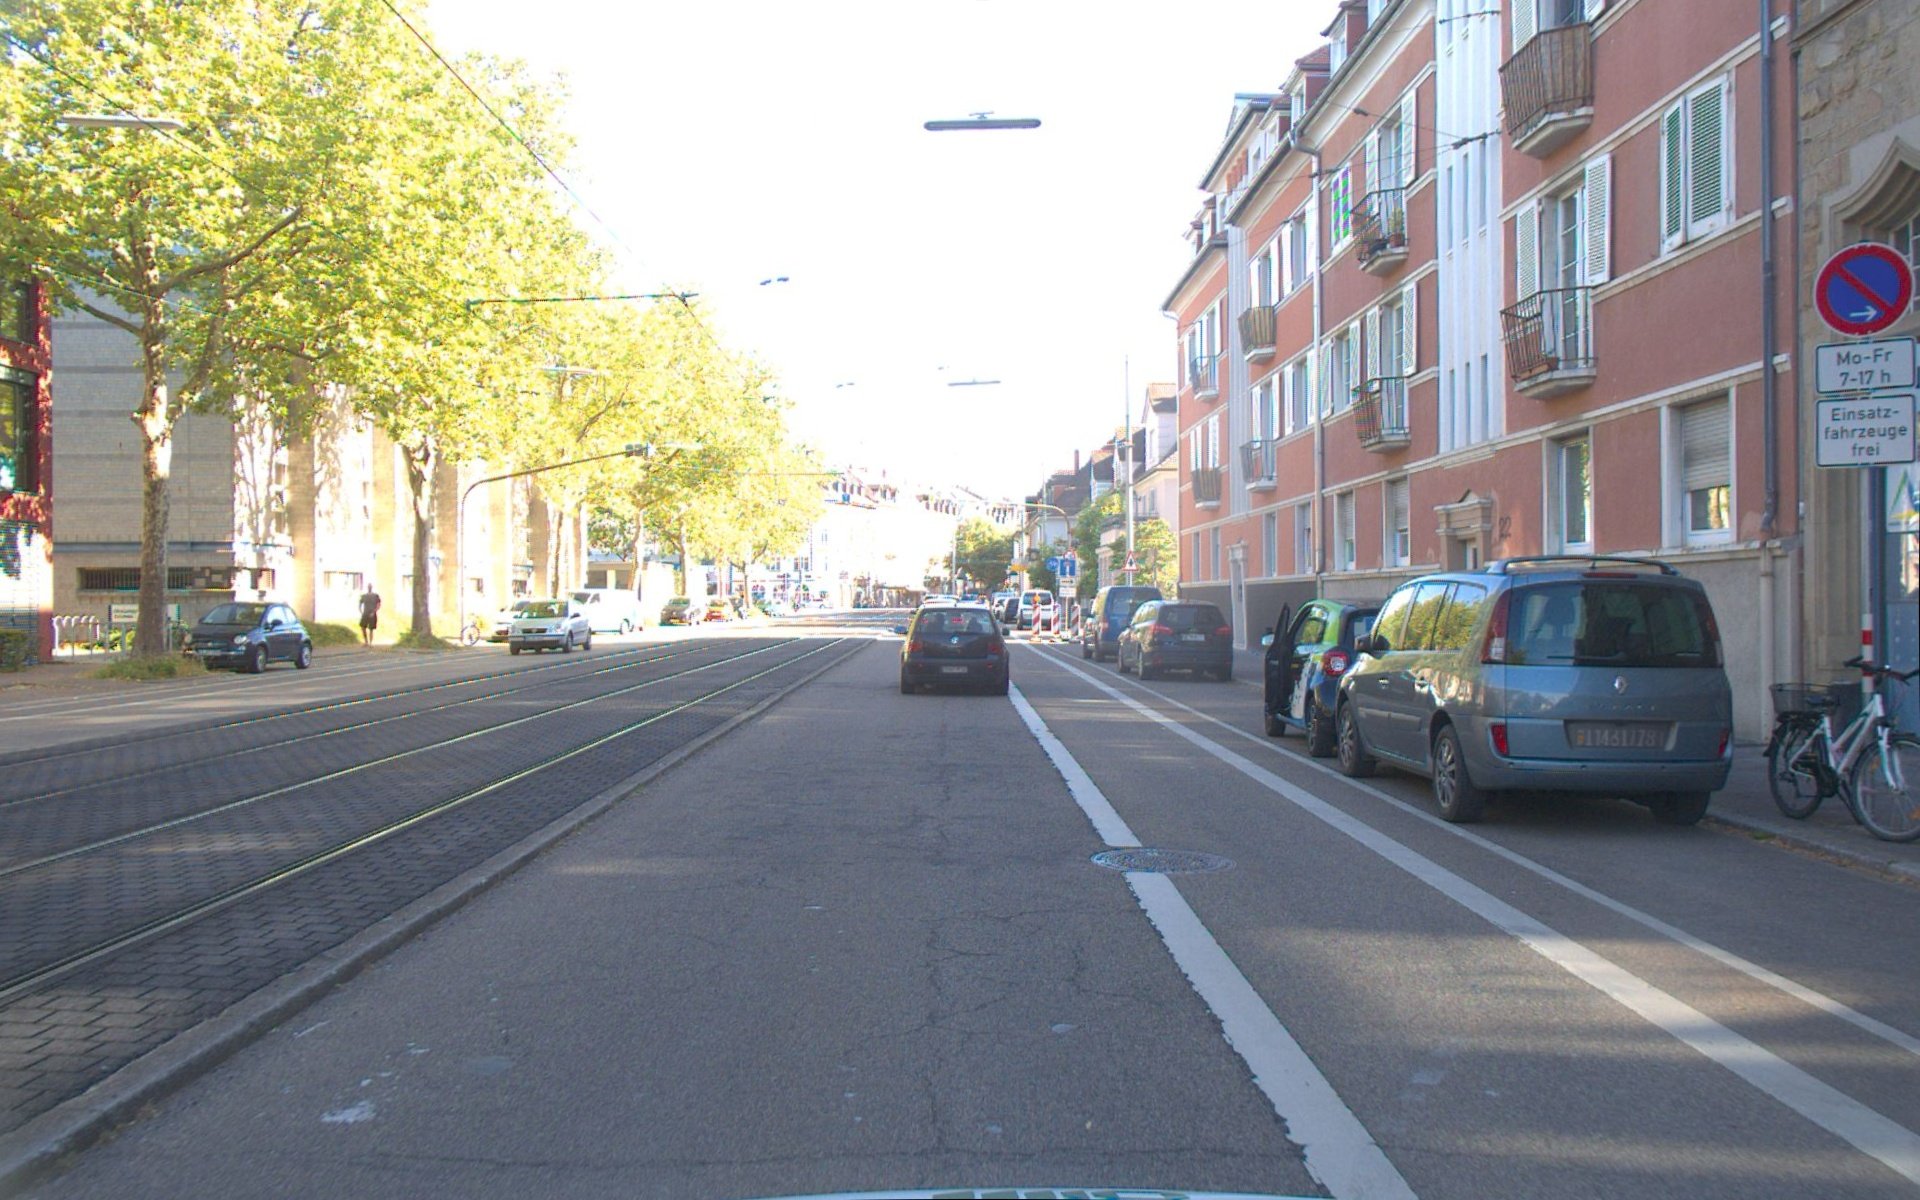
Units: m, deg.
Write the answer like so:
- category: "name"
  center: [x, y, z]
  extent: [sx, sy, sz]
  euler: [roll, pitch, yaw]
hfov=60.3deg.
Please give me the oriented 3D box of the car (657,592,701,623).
- category: "car"
  center: [-16.022, 0.412, 94.548]
  extent: [1.849, 1.695, 3.999]
  euler: [0, 0, -1]

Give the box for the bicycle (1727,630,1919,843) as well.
- category: "bicycle"
  center: [5.801, 0.813, 10.761]
  extent: [0.504, 1.159, 2.258]
  euler: [-2, 1, -1]

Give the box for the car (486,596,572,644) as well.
- category: "car"
  center: [-15.563, 0.680, 59.957]
  extent: [1.971, 1.600, 4.691]
  euler: [1, 1, -2]

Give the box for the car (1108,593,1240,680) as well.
- category: "car"
  center: [4.118, 0.665, 32.520]
  extent: [1.719, 1.538, 4.760]
  euler: [1, 0, -3]

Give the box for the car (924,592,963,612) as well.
- category: "car"
  center: [-1.826, 0.195, 180.778]
  extent: [3.917, 2.049, 1.994]
  euler: [1, 0, -12]

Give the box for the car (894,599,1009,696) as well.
- category: "car"
  center: [-0.195, 0.709, 26.701]
  extent: [1.713, 1.399, 3.999]
  euler: [-1, 0, -2]

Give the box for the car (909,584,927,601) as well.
- category: "car"
  center: [-3.985, -0.715, 157.933]
  extent: [1.603, 1.498, 3.729]
  euler: [-4, 0, -1]

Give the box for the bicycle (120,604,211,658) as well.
- category: "bicycle"
  center: [-20.178, 0.784, 42.047]
  extent: [1.967, 1.301, 0.664]
  euler: [1, 0, -1]

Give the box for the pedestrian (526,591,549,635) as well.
- category: "pedestrian"
  center: [-18.254, 0.558, 71.455]
  extent: [0.780, 1.852, 0.670]
  euler: [1, 0, -1]

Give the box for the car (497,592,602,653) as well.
- category: "car"
  center: [-11.354, 0.605, 46.048]
  extent: [1.716, 1.544, 4.072]
  euler: [-2, 0, 2]

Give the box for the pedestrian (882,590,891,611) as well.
- category: "pedestrian"
  center: [-9.748, 0.026, 220.172]
  extent: [1.073, 2.706, 0.959]
  euler: [1, 0, 1]

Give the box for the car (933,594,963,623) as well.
- category: "car"
  center: [-0.647, 0.446, 88.145]
  extent: [1.603, 1.498, 3.729]
  euler: [0, 0, -1]

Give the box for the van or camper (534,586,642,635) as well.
- category: "van or camper"
  center: [-15.749, 0.421, 70.306]
  extent: [2.017, 1.983, 5.191]
  euler: [2, 1, 19]

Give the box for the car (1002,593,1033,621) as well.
- category: "car"
  center: [3.309, 0.395, 96.071]
  extent: [1.627, 1.552, 4.035]
  euler: [0, 0, -1]

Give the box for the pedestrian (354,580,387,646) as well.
- category: "pedestrian"
  center: [-17.275, 0.385, 48.464]
  extent: [0.776, 1.902, 0.664]
  euler: [1, 0, -29]

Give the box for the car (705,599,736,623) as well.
- category: "car"
  center: [-16.068, 0.736, 111.102]
  extent: [1.538, 1.560, 3.571]
  euler: [0, -1, -1]

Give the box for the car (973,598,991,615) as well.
- category: "car"
  center: [2.136, 0.640, 160.313]
  extent: [1.634, 1.626, 3.649]
  euler: [0, 0, -1]

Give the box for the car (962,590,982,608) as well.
- category: "car"
  center: [0.952, -0.103, 136.492]
  extent: [1.603, 1.498, 3.729]
  euler: [0, 0, -1]

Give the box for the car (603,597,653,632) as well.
- category: "car"
  center: [-15.573, 0.662, 77.771]
  extent: [1.542, 1.533, 4.090]
  euler: [1, 1, -1]

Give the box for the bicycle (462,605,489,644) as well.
- category: "bicycle"
  center: [-15.913, 0.800, 54.369]
  extent: [0.570, 1.230, 1.651]
  euler: [0, 0, -7]

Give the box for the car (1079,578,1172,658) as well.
- category: "car"
  center: [4.036, 0.412, 40.924]
  extent: [1.668, 1.842, 4.270]
  euler: [-2, 0, -2]

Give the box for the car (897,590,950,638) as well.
- category: "car"
  center: [-1.232, 0.439, 56.629]
  extent: [1.713, 1.564, 3.891]
  euler: [-1, 0, 0]

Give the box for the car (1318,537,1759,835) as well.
- category: "car"
  center: [4.202, 0.538, 12.917]
  extent: [1.717, 1.888, 4.815]
  euler: [0, 0, -1]

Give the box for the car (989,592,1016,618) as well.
- category: "car"
  center: [3.025, 0.327, 118.682]
  extent: [1.780, 1.830, 3.999]
  euler: [0, 0, -1]

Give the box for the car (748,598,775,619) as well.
- category: "car"
  center: [-16.811, 0.710, 140.096]
  extent: [1.846, 1.698, 3.803]
  euler: [1, 0, -2]

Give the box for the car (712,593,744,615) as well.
- category: "car"
  center: [-16.877, 0.261, 120.454]
  extent: [1.756, 1.491, 3.835]
  euler: [2, 0, -1]

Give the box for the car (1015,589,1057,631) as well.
- category: "car"
  center: [3.489, 0.441, 76.314]
  extent: [1.723, 1.870, 3.547]
  euler: [1, 0, -1]

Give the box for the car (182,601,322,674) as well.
- category: "car"
  center: [-15.239, 0.769, 35.764]
  extent: [1.476, 1.479, 3.463]
  euler: [1, 0, 1]

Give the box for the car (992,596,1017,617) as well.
- category: "car"
  center: [3.040, 0.410, 113.851]
  extent: [1.548, 1.399, 3.999]
  euler: [0, 0, -1]

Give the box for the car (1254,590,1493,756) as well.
- category: "car"
  center: [4.258, 0.683, 17.564]
  extent: [1.598, 1.538, 3.717]
  euler: [1, 0, 0]
